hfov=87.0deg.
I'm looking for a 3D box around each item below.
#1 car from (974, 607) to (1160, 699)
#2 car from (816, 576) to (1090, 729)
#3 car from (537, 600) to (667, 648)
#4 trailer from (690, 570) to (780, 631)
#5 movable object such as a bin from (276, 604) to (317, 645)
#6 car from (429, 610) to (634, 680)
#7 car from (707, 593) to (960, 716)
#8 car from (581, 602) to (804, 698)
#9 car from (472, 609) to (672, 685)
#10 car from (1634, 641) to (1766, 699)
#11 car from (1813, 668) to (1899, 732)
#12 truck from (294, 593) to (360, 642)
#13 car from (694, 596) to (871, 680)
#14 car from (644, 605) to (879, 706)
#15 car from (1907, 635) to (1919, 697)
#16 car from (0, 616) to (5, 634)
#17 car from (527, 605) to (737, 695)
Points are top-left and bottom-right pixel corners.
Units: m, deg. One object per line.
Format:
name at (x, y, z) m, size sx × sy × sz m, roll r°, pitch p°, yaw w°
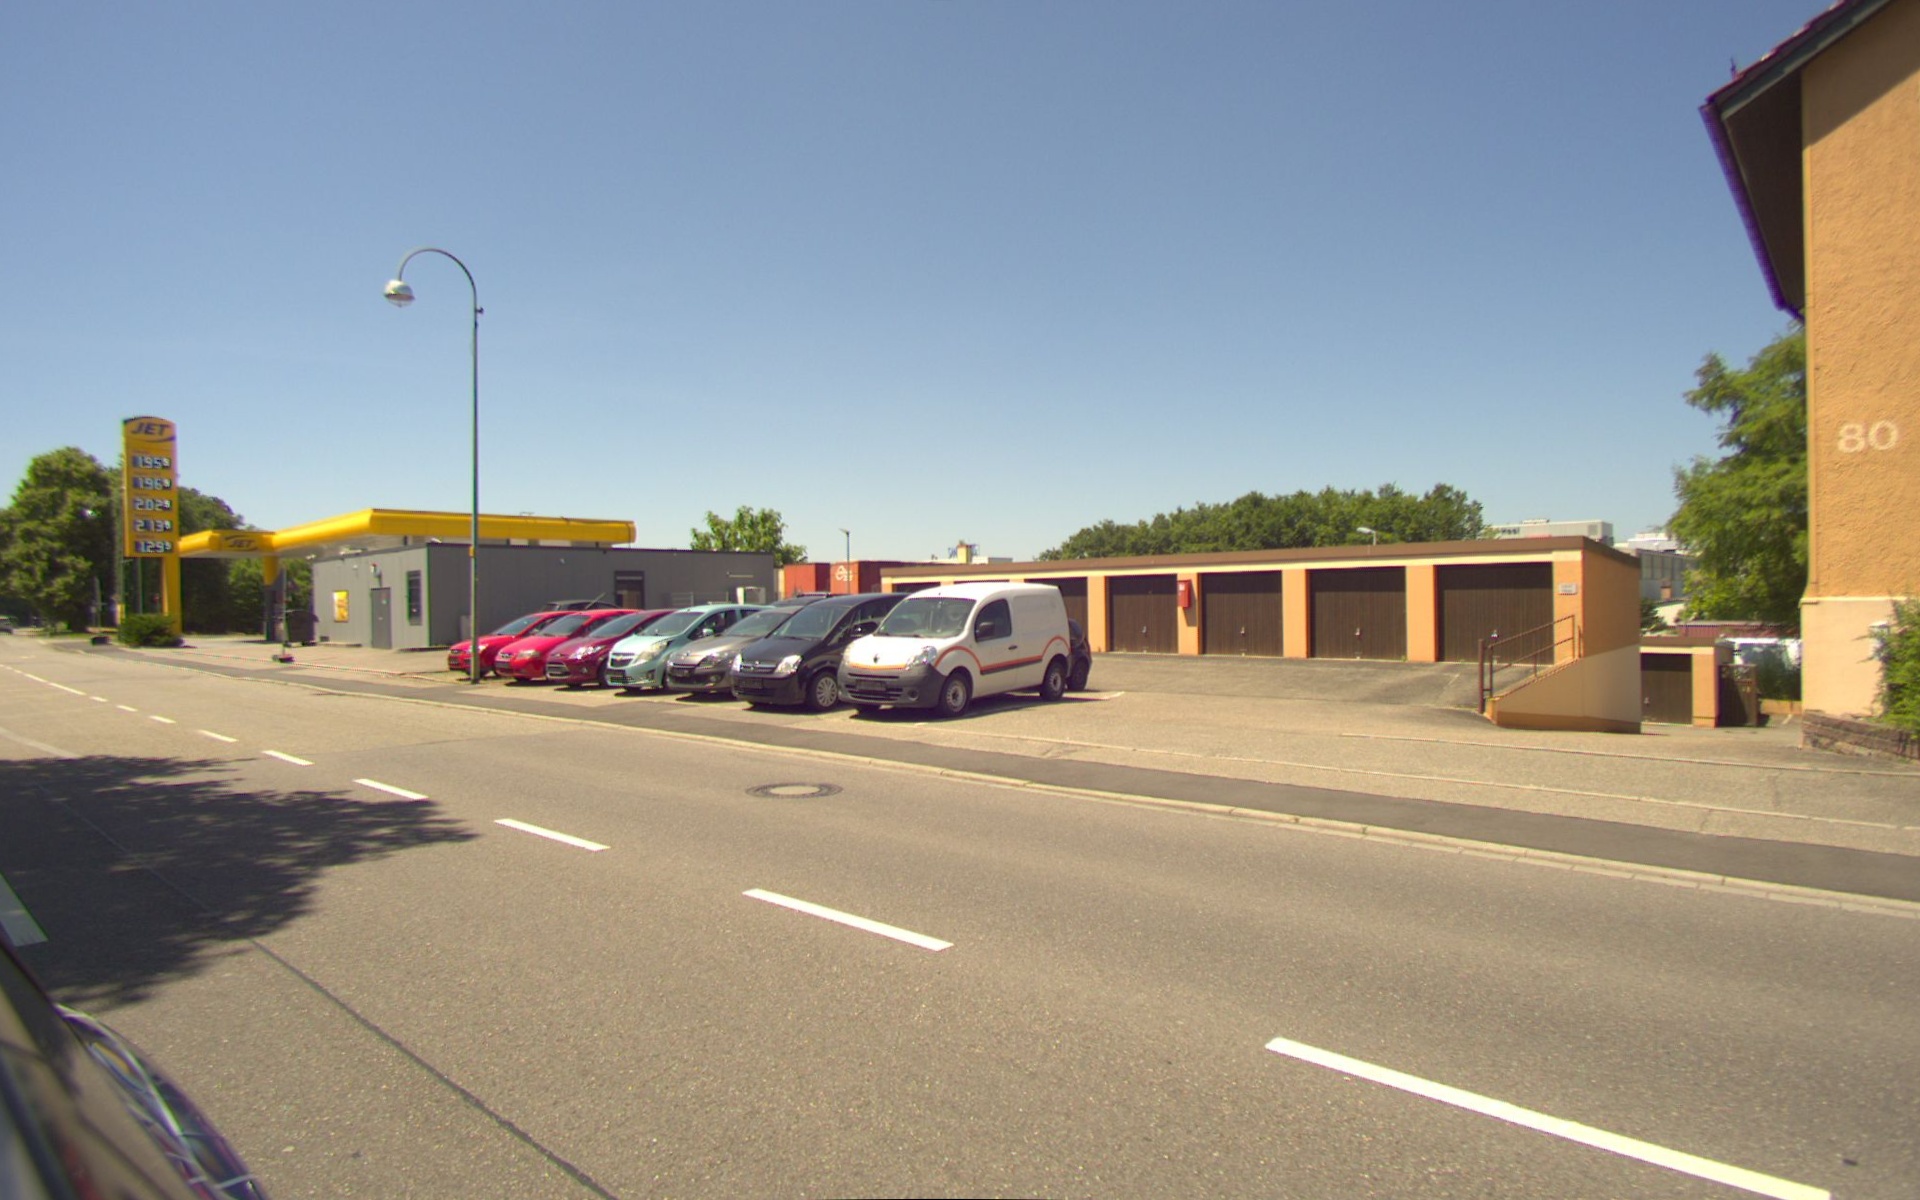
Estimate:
car at (2.241, 0.989, 20.436) m, size 1.828 × 1.580 × 3.947 m, roll -2°, pitch 0°, yaw 40°
car at (0.033, 0.661, 14.871) m, size 1.997 × 1.912 × 4.056 m, roll -1°, pitch 0°, yaw 37°
car at (-12.527, 0.797, 35.509) m, size 1.755 × 1.596 × 3.942 m, roll -1°, pitch 0°, yaw 44°
trailer at (-12.656, 0.099, 56.647) m, size 5.912 × 3.244 × 1.845 m, roll -2°, pitch -1°, yaw 42°
movable object such as a bin at (-26.523, 0.990, 40.467) m, size 1.428 × 1.528 × 0.942 m, roll -3°, pitch 2°, yaw 43°
car at (-9.995, 0.992, 23.854) m, size 1.826 × 1.455 × 4.083 m, roll -1°, pitch 0°, yaw 41°
car at (-1.886, 0.749, 15.870) m, size 1.920 × 1.685 × 3.627 m, roll -1°, pitch 0°, yaw 39°
car at (-4.942, 0.852, 19.004) m, size 1.920 × 1.593 × 3.627 m, roll -1°, pitch 0°, yaw 39°
car at (-8.376, 0.943, 22.052) m, size 1.891 × 1.468 × 3.627 m, roll -1°, pitch 0°, yaw 39°
car at (28.943, 2.687, 39.621) m, size 3.998 × 2.029 × 1.973 m, roll -1°, pitch -1°, yaw 41°
car at (26.727, 2.906, 30.152) m, size 1.729 × 1.554 × 3.766 m, roll -2°, pitch -1°, yaw 44°
truck at (-35.675, 0.954, 56.974) m, size 2.206 × 2.618 × 6.743 m, roll 0°, pitch 0°, yaw -40°
car at (-4.093, 0.815, 23.781) m, size 1.857 × 1.819 × 3.811 m, roll -1°, pitch 0°, yaw 39°
car at (-3.363, 0.869, 17.607) m, size 1.920 × 1.543 × 3.627 m, roll -1°, pitch 0°, yaw 39°
car at (39.474, 2.568, 38.517) m, size 4.908 × 2.341 × 1.973 m, roll -1°, pitch 0°, yaw 41°
car at (-89.981, 2.363, 93.901) m, size 1.946 × 1.685 × 4.252 m, roll 1°, pitch -2°, yaw -44°
car at (-6.555, 0.931, 20.490) m, size 1.880 × 1.617 × 3.627 m, roll -1°, pitch 0°, yaw 39°
